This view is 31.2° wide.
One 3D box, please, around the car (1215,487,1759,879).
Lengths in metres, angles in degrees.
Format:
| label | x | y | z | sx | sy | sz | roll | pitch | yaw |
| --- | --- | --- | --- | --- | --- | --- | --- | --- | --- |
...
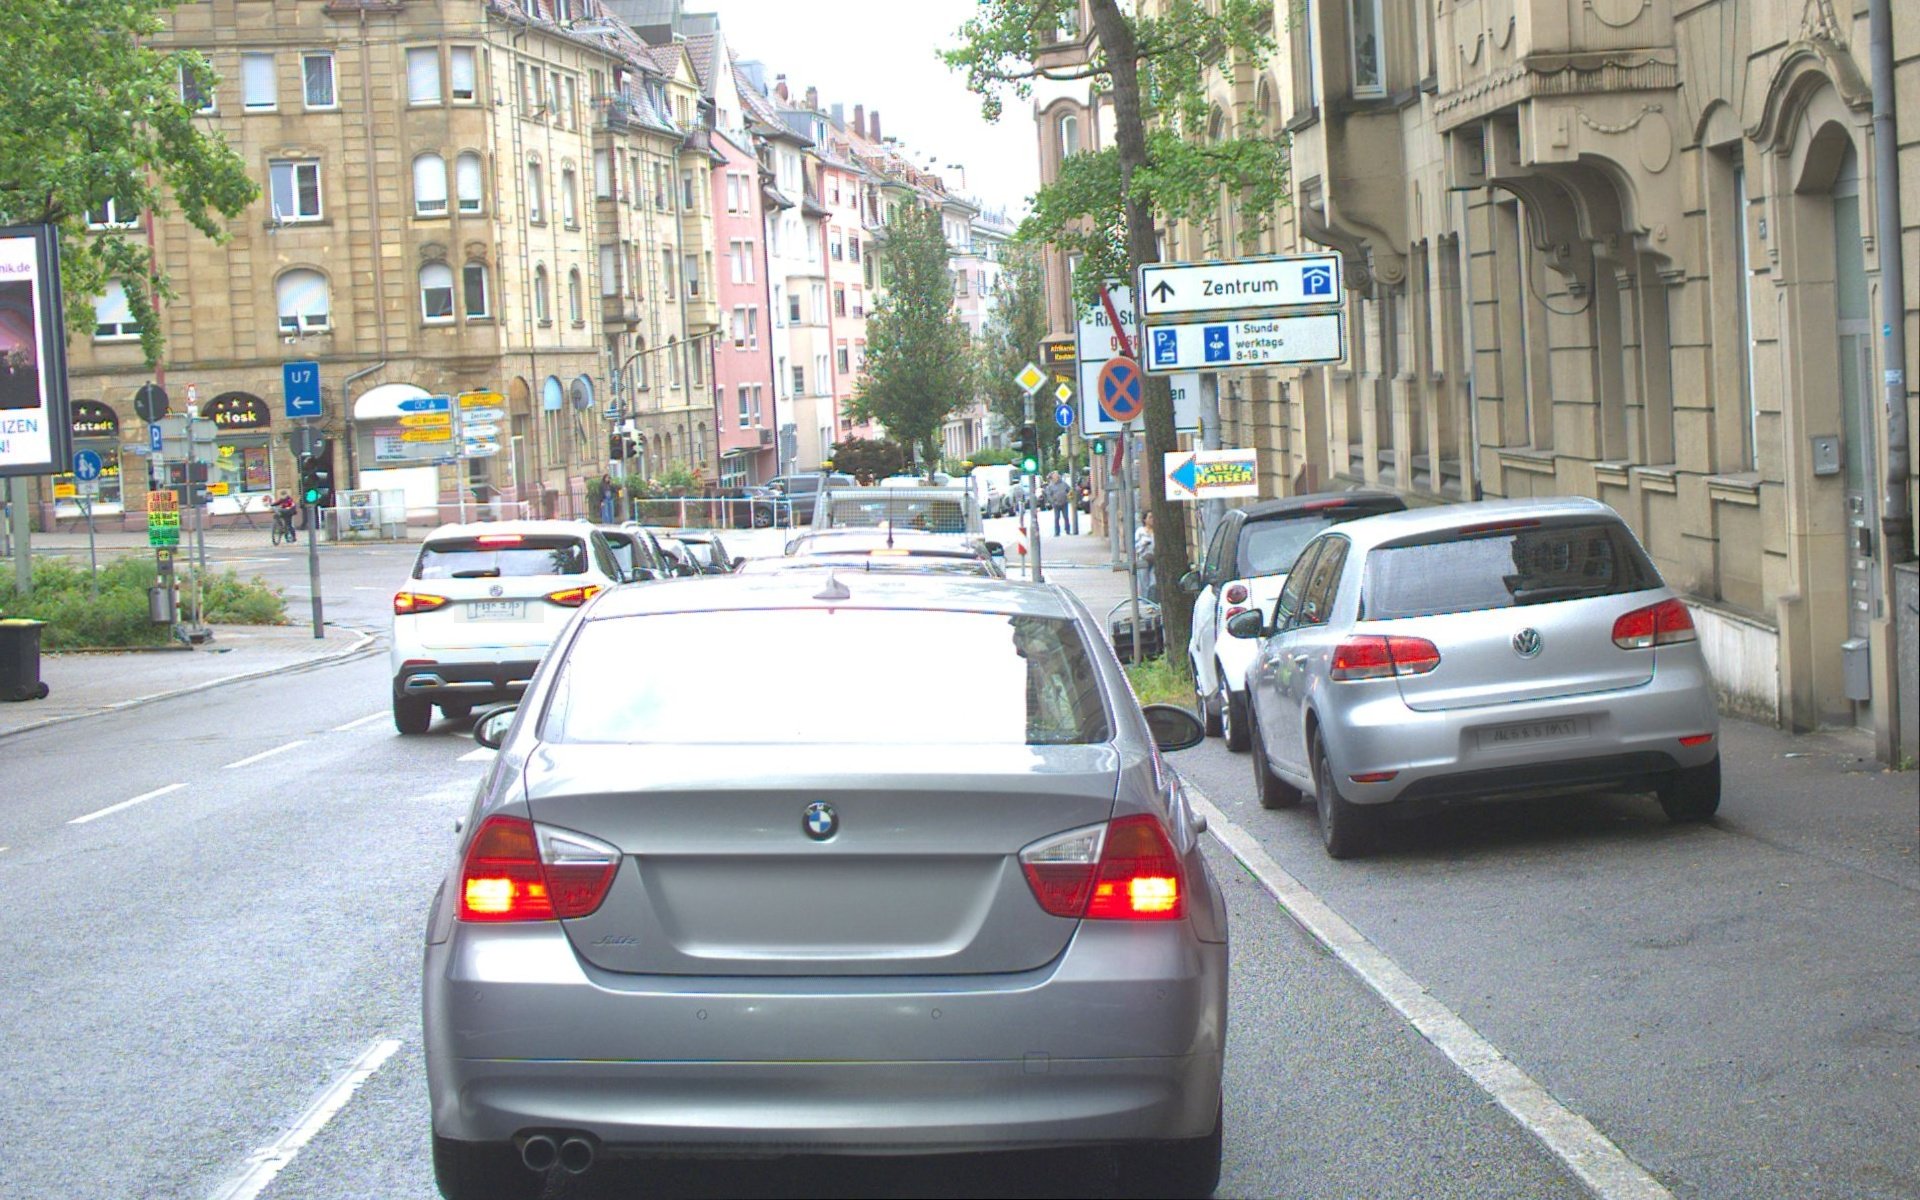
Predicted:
| label | x | y | z | sx | sy | sz | roll | pitch | yaw |
| --- | --- | --- | --- | --- | --- | --- | --- | --- | --- |
| car | 2.340 | 0.297 | 16.271 | 1.759 | 1.446 | 4.000 | -6 | 1 | -1 |

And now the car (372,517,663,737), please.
| label | x | y | z | sx | sy | sz | roll | pitch | yaw |
| --- | --- | --- | --- | --- | --- | --- | --- | --- | --- |
| car | -3.492 | 0.157 | 27.791 | 1.868 | 1.620 | 4.000 | -1 | 1 | -1 |

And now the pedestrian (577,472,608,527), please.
| label | x | y | z | sx | sy | sz | roll | pitch | yaw |
| --- | --- | --- | --- | --- | --- | --- | --- | --- | --- |
| pedestrian | -10.846 | -2.966 | 101.439 | 0.732 | 1.572 | 0.528 | -2 | 1 | 8 |

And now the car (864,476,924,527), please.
| label | x | y | z | sx | sy | sz | roll | pitch | yaw |
| --- | --- | --- | --- | --- | --- | --- | --- | --- | --- |
| car | -2.001 | -2.982 | 104.246 | 1.715 | 1.445 | 3.743 | -2 | 1 | -1 |

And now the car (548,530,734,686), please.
| label | x | y | z | sx | sy | sz | roll | pitch | yaw |
| --- | --- | --- | --- | --- | --- | --- | --- | --- | --- |
| car | -3.710 | 0.055 | 40.513 | 1.759 | 1.702 | 4.000 | -1 | 1 | 1 |

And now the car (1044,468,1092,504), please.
| label | x | y | z | sx | sy | sz | roll | pitch | yaw |
| --- | --- | --- | --- | --- | --- | --- | --- | --- | --- |
| car | 3.776 | -3.998 | 120.544 | 1.434 | 1.170 | 3.435 | 1 | 1 | -2 |

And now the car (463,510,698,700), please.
| label | x | y | z | sx | sy | sz | roll | pitch | yaw |
| --- | --- | --- | --- | --- | --- | --- | --- | --- | --- |
| car | -3.592 | -0.004 | 33.147 | 1.759 | 1.702 | 4.000 | -1 | 1 | 1 |

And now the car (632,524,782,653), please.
| label | x | y | z | sx | sy | sz | roll | pitch | yaw |
| --- | --- | --- | --- | --- | --- | --- | --- | --- | --- |
| car | -3.526 | -0.203 | 48.442 | 1.759 | 1.702 | 4.000 | -1 | 1 | 1 |

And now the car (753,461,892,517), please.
| label | x | y | z | sx | sy | sz | roll | pitch | yaw |
| --- | --- | --- | --- | --- | --- | --- | --- | --- | --- |
| car | -5.168 | -4.185 | 129.883 | 5.176 | 2.007 | 2.699 | 1 | 1 | -1 |

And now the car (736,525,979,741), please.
| label | x | y | z | sx | sy | sz | roll | pitch | yaw |
| --- | --- | --- | --- | --- | --- | --- | --- | --- | --- |
| car | -0.748 | 0.200 | 27.419 | 1.759 | 1.562 | 4.000 | -1 | 1 | 1 |

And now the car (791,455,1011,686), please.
| label | x | y | z | sx | sy | sz | roll | pitch | yaw |
| --- | --- | --- | --- | --- | --- | --- | --- | --- | --- |
| car | -0.559 | -0.300 | 33.315 | 1.993 | 2.099 | 4.000 | 0 | 1 | -1 |

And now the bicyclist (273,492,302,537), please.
| label | x | y | z | sx | sy | sz | roll | pitch | yaw |
| --- | --- | --- | --- | --- | --- | --- | --- | --- | --- |
| bicyclist | -18.855 | -2.396 | 96.444 | 0.569 | 1.268 | 0.689 | 1 | 0 | 11 |

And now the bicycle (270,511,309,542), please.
| label | x | y | z | sx | sy | sz | roll | pitch | yaw |
| --- | --- | --- | --- | --- | --- | --- | --- | --- | --- |
| bicycle | -18.820 | -2.065 | 96.533 | 0.573 | 0.855 | 1.521 | 1 | 1 | 10 |

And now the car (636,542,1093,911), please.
| label | x | y | z | sx | sy | sz | roll | pitch | yaw |
| --- | --- | --- | --- | --- | --- | --- | --- | --- | --- |
| car | -0.353 | 0.460 | 15.379 | 1.759 | 1.378 | 4.000 | -1 | 1 | 1 |

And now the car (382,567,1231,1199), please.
| label | x | y | z | sx | sy | sz | roll | pitch | yaw |
| --- | --- | --- | --- | --- | --- | --- | --- | --- | --- |
| car | -0.277 | 0.650 | 8.445 | 1.623 | 1.378 | 3.615 | -1 | 1 | 1 |

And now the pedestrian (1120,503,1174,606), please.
| label | x | y | z | sx | sy | sz | roll | pitch | yaw |
| --- | --- | --- | --- | --- | --- | --- | --- | --- | --- |
| pedestrian | 2.832 | -0.696 | 52.146 | 0.631 | 1.503 | 0.693 | -6 | 1 | -1 |

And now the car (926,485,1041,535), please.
| label | x | y | z | sx | sy | sz | roll | pitch | yaw |
| --- | --- | --- | --- | --- | --- | --- | --- | --- | --- |
| car | 0.788 | -2.976 | 113.972 | 1.997 | 1.573 | 3.993 | 1 | 1 | 32 |

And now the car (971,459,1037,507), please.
| label | x | y | z | sx | sy | sz | roll | pitch | yaw |
| --- | --- | --- | --- | --- | --- | --- | --- | --- | --- |
| car | 1.561 | -4.095 | 120.542 | 1.994 | 1.573 | 3.999 | 1 | 1 | 5 |

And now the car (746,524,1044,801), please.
| label | x | y | z | sx | sy | sz | roll | pitch | yaw |
| --- | --- | --- | --- | --- | --- | --- | --- | --- | --- |
| car | -0.337 | 0.299 | 20.718 | 1.595 | 1.459 | 4.000 | 1 | 2 | 1 |

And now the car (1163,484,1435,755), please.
| label | x | y | z | sx | sy | sz | roll | pitch | yaw |
| --- | --- | --- | --- | --- | --- | --- | --- | --- | --- |
| car | 2.178 | 0.085 | 22.693 | 1.299 | 1.537 | 2.976 | -6 | 1 | -1 |
